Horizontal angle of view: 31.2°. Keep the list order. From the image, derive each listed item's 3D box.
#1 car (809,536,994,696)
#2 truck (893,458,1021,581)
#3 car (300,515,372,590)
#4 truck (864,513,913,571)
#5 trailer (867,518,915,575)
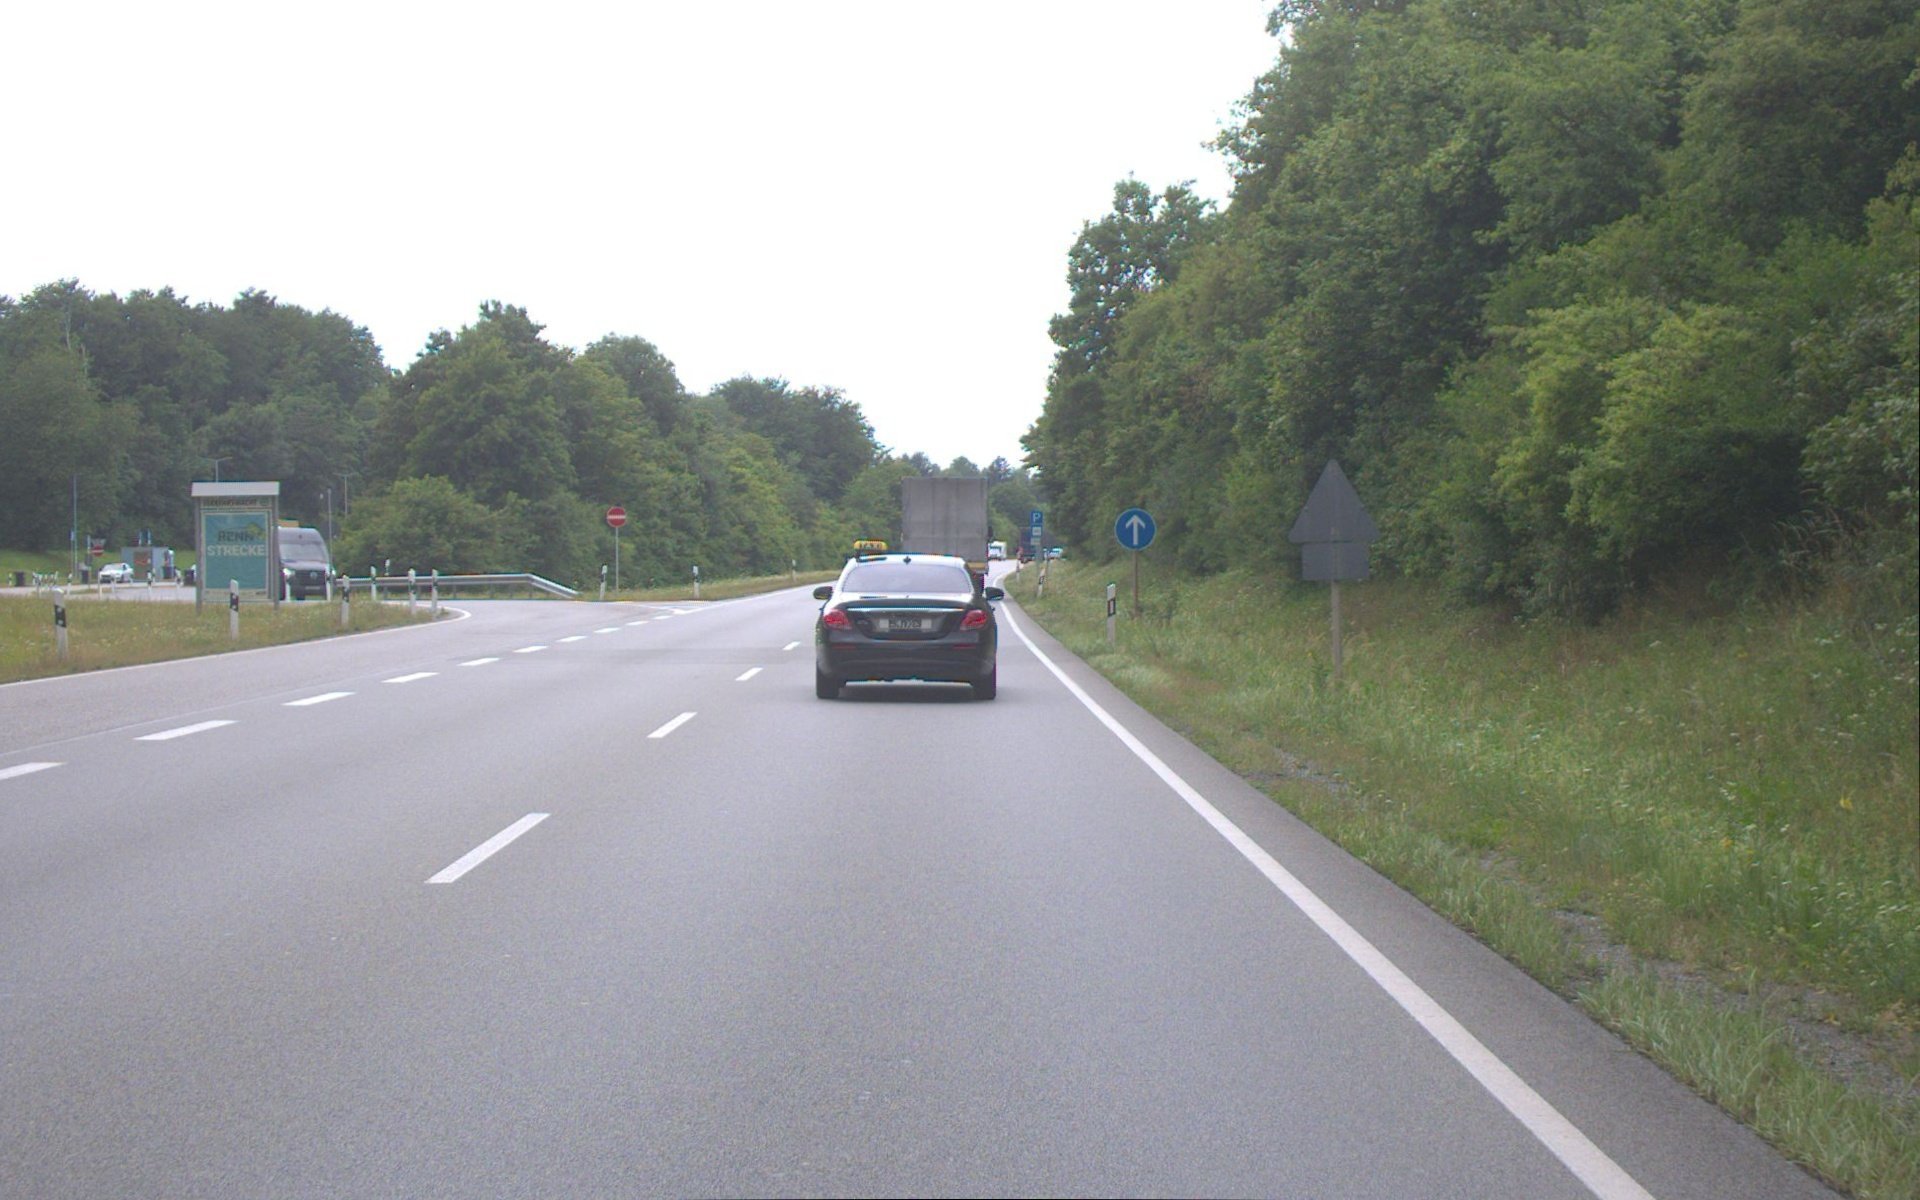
[{"bbox_3d":[-0.599,0.140,35.774,1.791,1.547,4.000,1,1,-1],"label":"car"},{"bbox_3d":[0.015,-2.446,107.612,3.281,3.599,11.398,1,1,3],"label":"truck"},{"bbox_3d":[-22.145,-1.677,121.892,2.255,2.521,7.166,-2,1,-12],"label":"car"},{"bbox_3d":[-5.110,-4.173,247.836,3.189,4.048,9.576,1,1,0],"label":"truck"},{"bbox_3d":[-5.056,-3.939,253.880,3.203,4.053,14.273,1,1,0],"label":"trailer"}]
